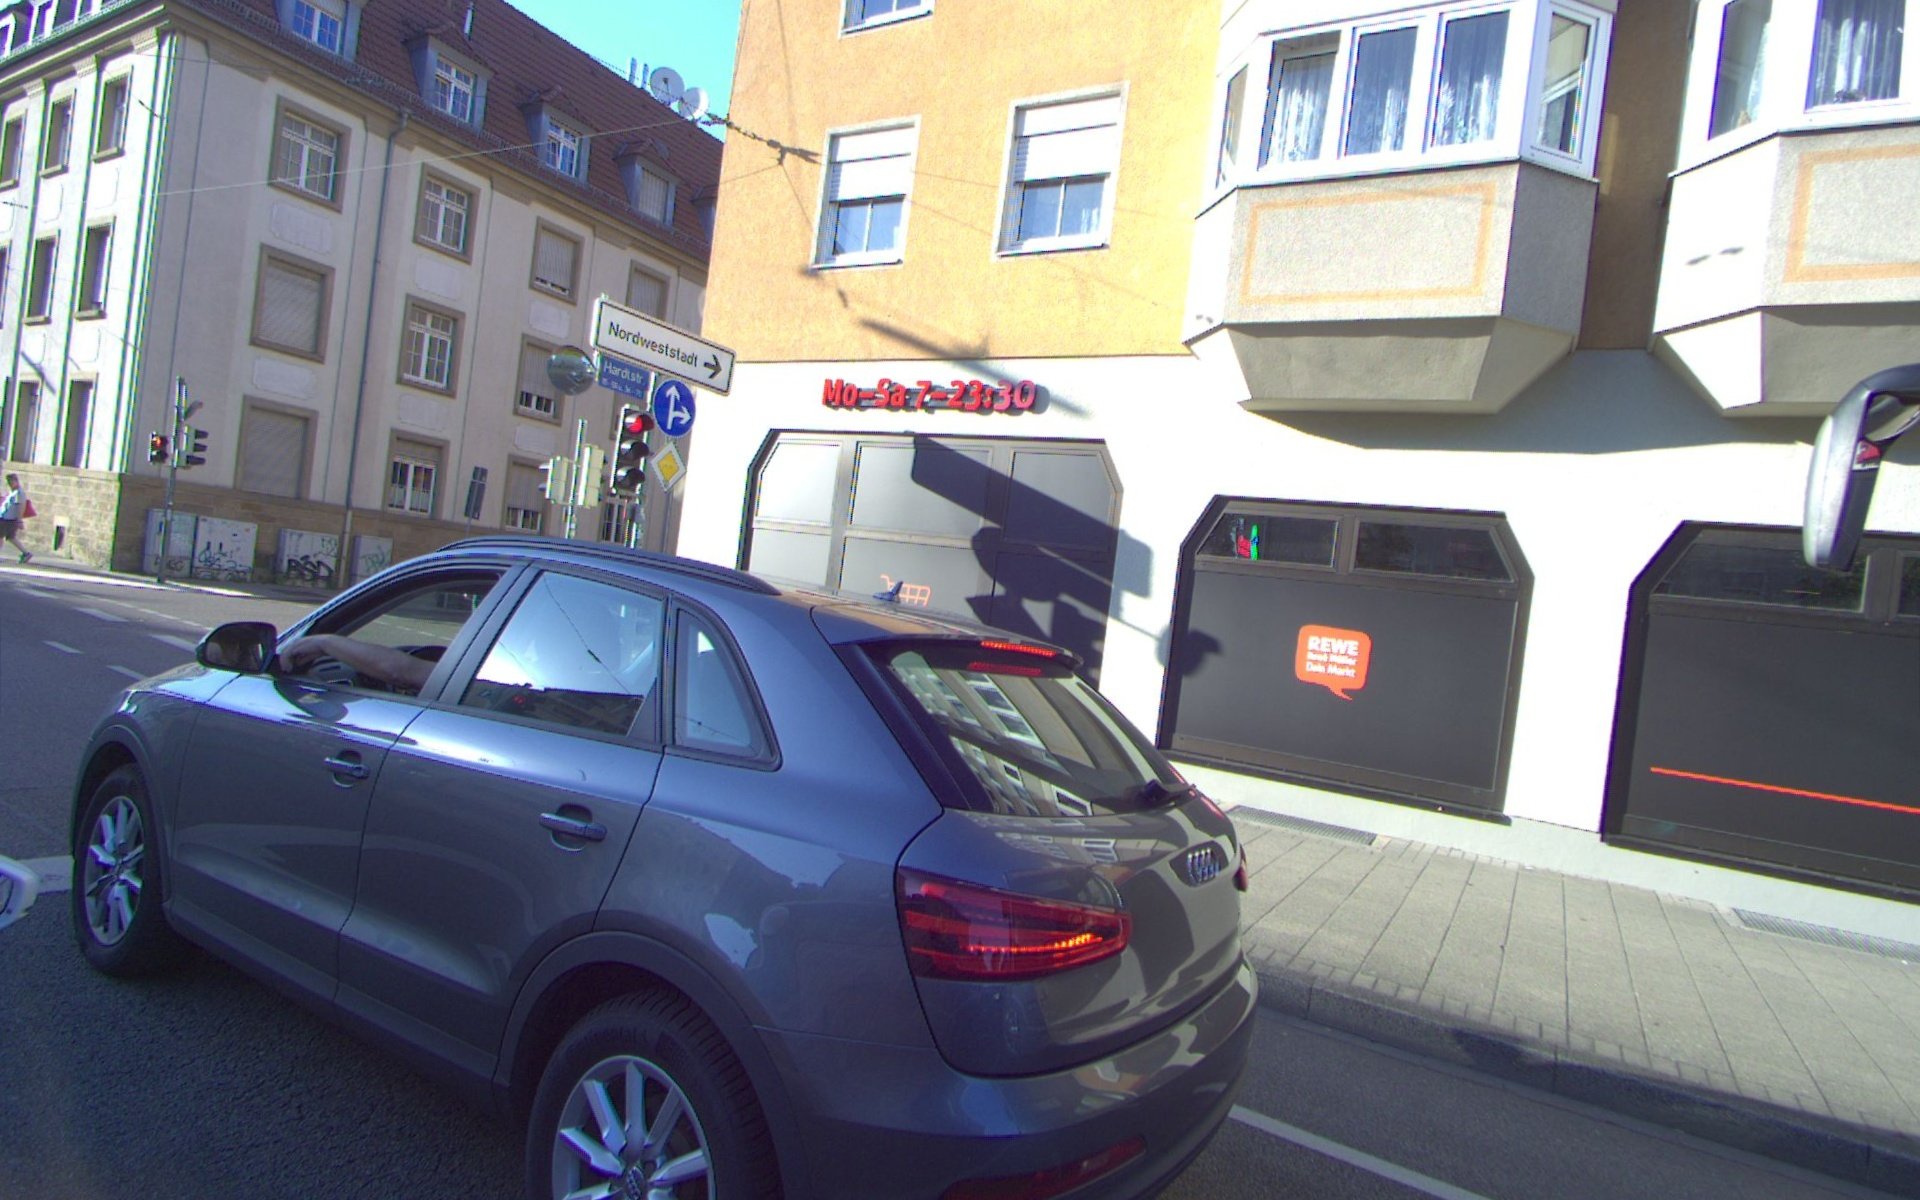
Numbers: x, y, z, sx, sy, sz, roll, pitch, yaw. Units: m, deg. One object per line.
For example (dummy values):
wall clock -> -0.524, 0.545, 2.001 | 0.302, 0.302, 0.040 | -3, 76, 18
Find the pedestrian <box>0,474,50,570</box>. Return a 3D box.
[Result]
pedestrian -> -18.899, -1.570, 20.013 | 0.810, 1.783, 0.837 | 6, -1, 31

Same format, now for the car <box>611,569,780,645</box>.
car -> -6.936, 0.247, 26.850 | 1.898, 1.472, 4.327 | 7, -2, 26

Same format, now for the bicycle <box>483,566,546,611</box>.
bicycle -> -12.411, -0.310, 28.033 | 1.499, 1.029, 0.247 | 9, -2, -43

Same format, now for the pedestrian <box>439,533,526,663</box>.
pedestrian -> -7.024, -0.027, 14.809 | 0.812, 1.778, 0.630 | 6, -1, 32

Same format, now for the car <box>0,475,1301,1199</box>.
car -> -1.286, 0.622, 3.309 | 4.155, 1.570, 1.701 | 7, -2, 32
